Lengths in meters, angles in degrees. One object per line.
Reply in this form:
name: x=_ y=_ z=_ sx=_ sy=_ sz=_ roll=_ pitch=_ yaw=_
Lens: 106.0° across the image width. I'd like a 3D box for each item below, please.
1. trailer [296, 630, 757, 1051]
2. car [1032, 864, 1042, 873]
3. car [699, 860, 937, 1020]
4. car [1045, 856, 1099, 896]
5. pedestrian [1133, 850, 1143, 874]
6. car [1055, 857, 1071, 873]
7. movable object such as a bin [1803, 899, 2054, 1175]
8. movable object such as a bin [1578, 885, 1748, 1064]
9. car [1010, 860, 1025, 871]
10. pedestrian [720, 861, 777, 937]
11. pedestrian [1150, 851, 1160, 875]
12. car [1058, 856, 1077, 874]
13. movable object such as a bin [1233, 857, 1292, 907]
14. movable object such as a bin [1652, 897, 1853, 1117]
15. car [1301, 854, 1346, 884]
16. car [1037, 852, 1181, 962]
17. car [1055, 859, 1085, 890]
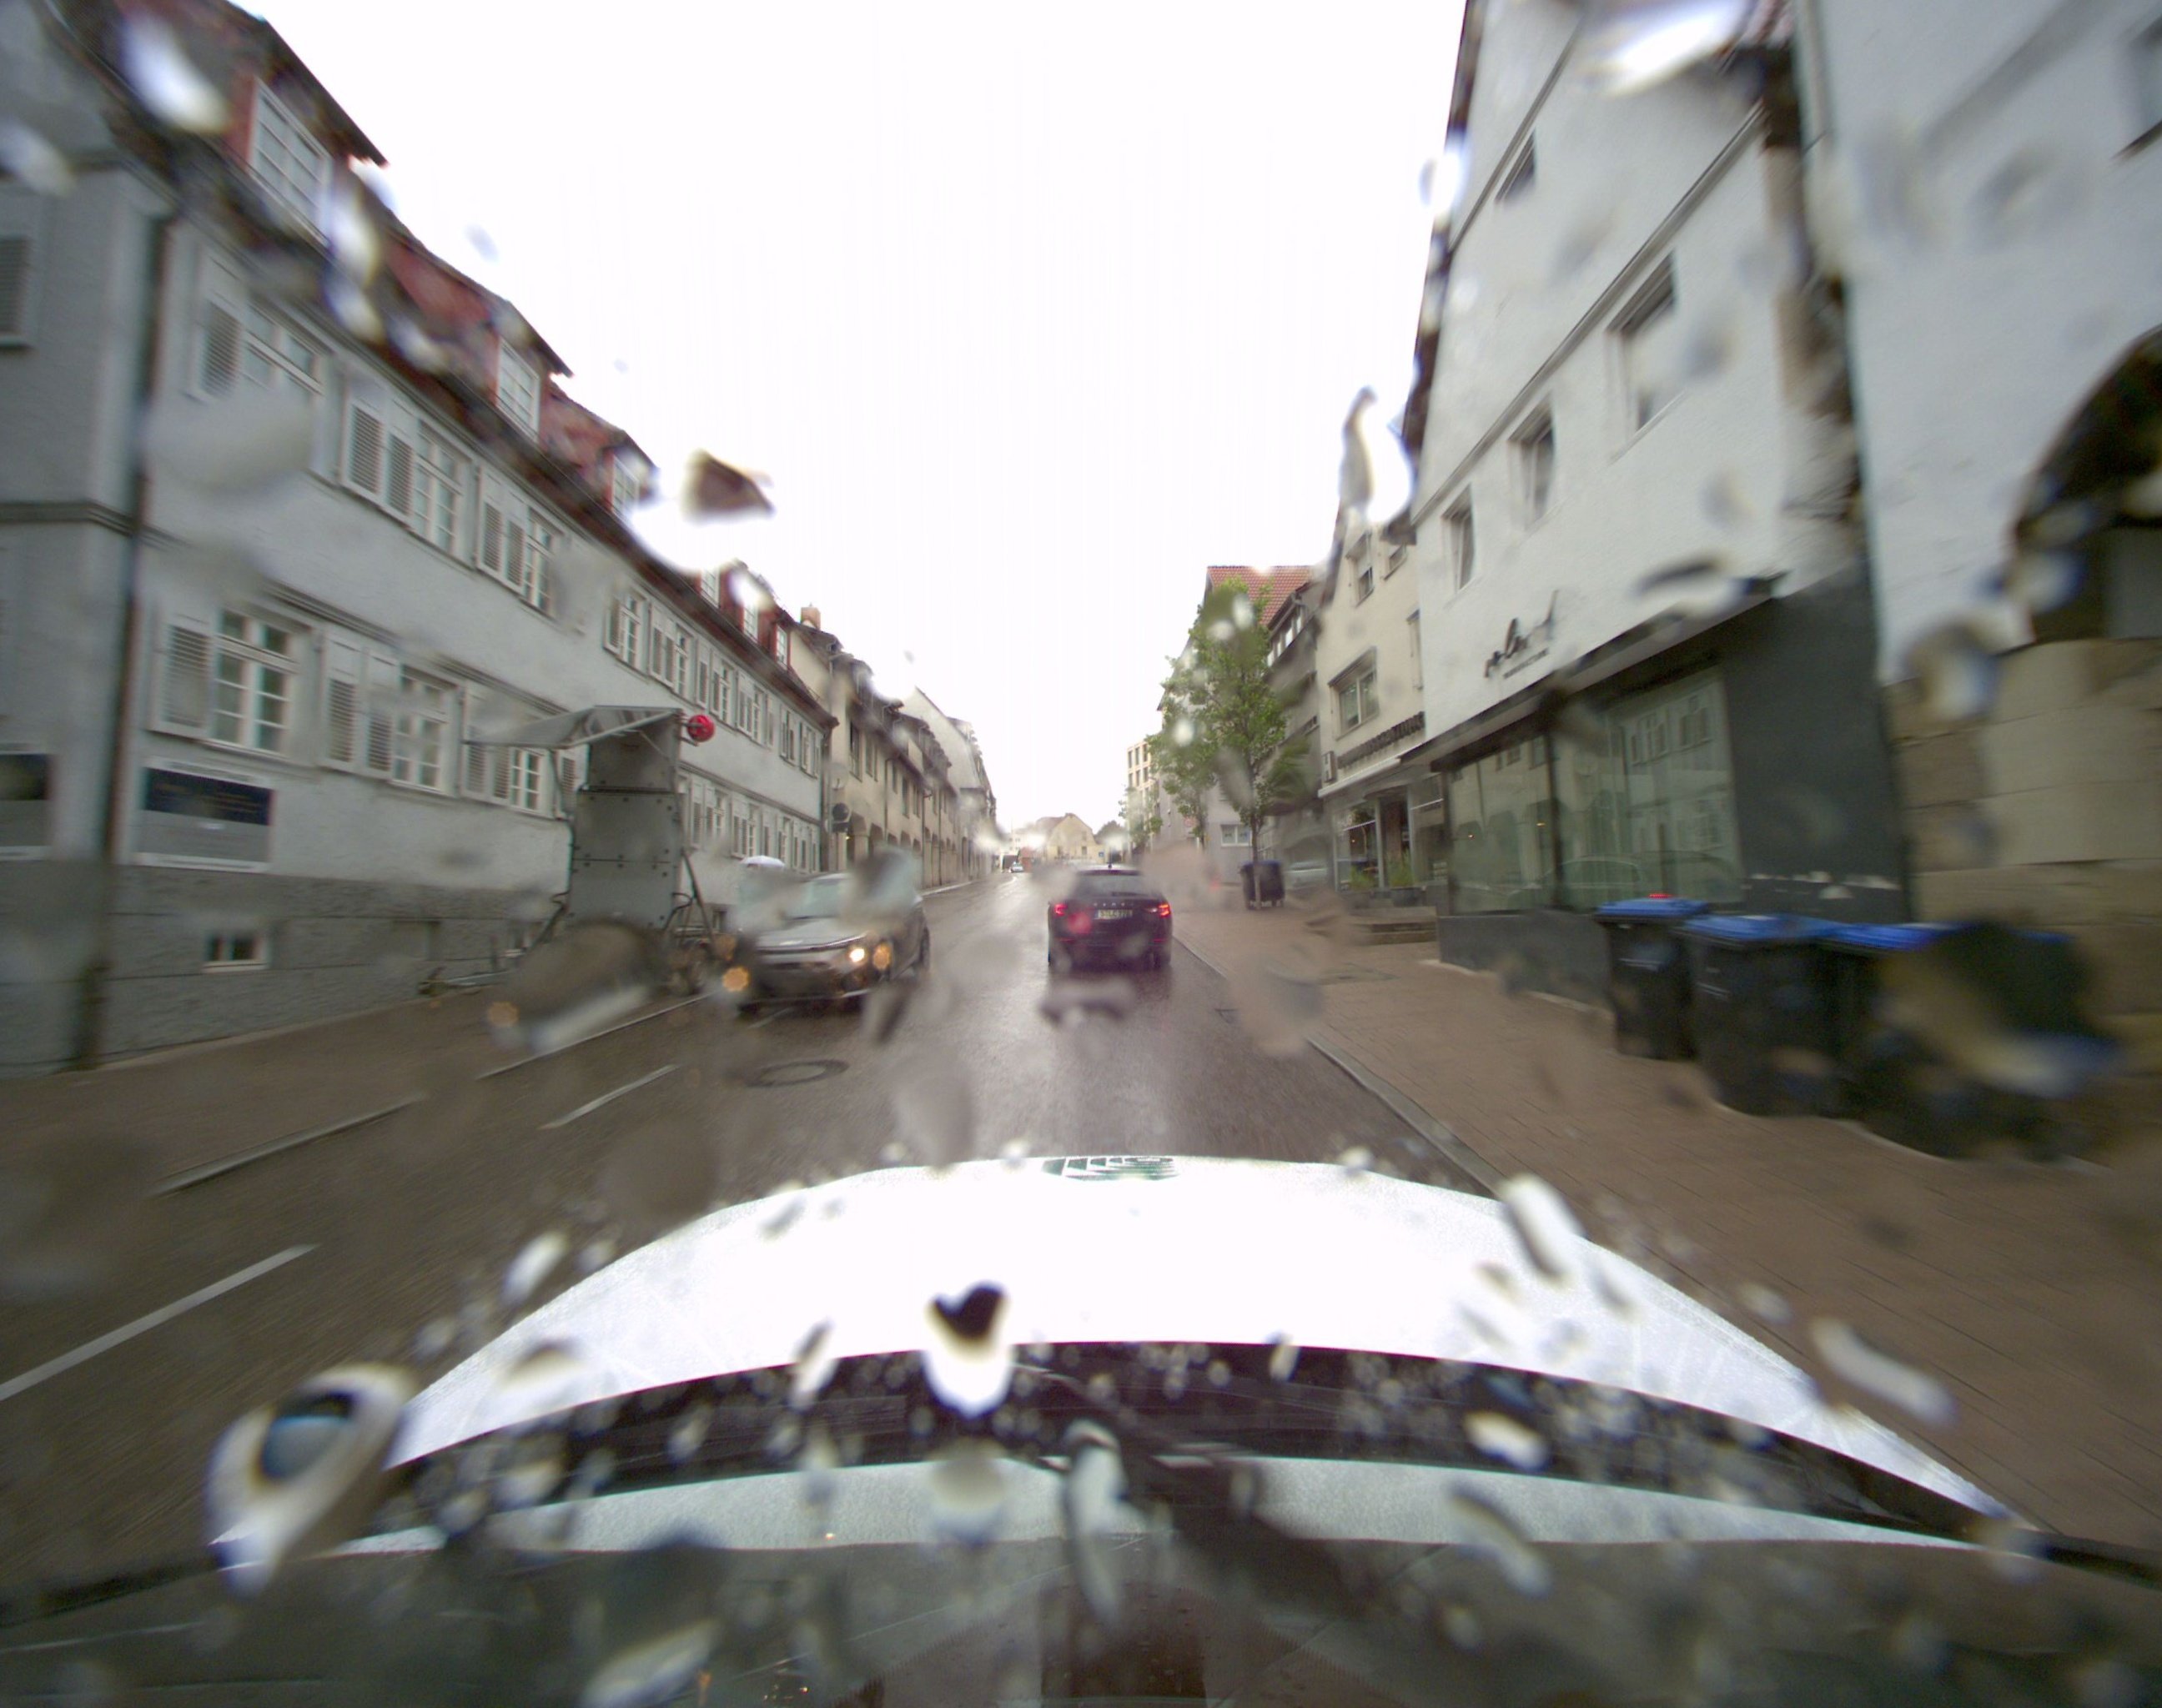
trailer: x=-5.573 y=-0.109 z=9.137 sx=1.987 sy=3.533 sz=4.575 roll=0 pitch=0 yaw=1
car: x=-7.236 y=2.362 z=134.615 sx=1.624 sy=1.530 sz=3.995 roll=0 pitch=0 yaw=-3
car: x=-2.893 y=0.847 z=9.810 sx=1.769 sy=1.534 sz=3.707 roll=0 pitch=0 yaw=-2
car: x=-0.287 y=0.820 z=32.389 sx=1.848 sy=1.473 sz=4.004 roll=0 pitch=0 yaw=4
pedestrian: x=4.030 y=0.561 z=57.492 sx=0.702 sy=1.725 sz=0.833 roll=0 pitch=-1 yaw=2
car: x=-2.255 y=1.378 z=105.481 sx=1.987 sy=2.014 sz=3.999 roll=-1 pitch=-1 yaw=-1
movable object such as a bin: x=4.149 y=0.859 z=4.035 sx=0.622 sy=1.205 sz=0.606 roll=-1 pitch=2 yaw=1
movable object such as a bin: x=3.954 y=0.794 z=5.578 sx=0.656 sy=1.062 sz=0.614 roll=-5 pitch=1 yaw=2
car: x=-9.796 y=1.803 z=124.876 sx=1.992 sy=1.651 sz=3.989 roll=0 pitch=0 yaw=-8
pedestrian: x=-6.975 y=0.919 z=17.126 sx=0.704 sy=1.530 sz=1.046 roll=1 pitch=0 yaw=2
pedestrian: x=5.330 y=0.633 z=58.846 sx=0.702 sy=1.725 sz=0.833 roll=0 pitch=-1 yaw=2
car: x=-1.321 y=1.042 z=77.587 sx=1.699 sy=1.552 sz=3.602 roll=0 pitch=1 yaw=-4
movable object such as a bin: x=5.039 y=0.752 z=22.752 sx=1.283 sy=1.349 sz=1.486 roll=0 pitch=0 yaw=-1
movable object such as a bin: x=3.823 y=0.837 z=4.688 sx=0.565 sy=1.108 sz=0.676 roll=-3 pitch=0 yaw=2
car: x=14.339 y=0.907 z=48.297 sx=1.633 sy=1.490 sz=3.447 roll=-2 pitch=-5 yaw=1
car: x=0.412 y=0.707 z=12.929 sx=1.880 sy=1.448 sz=4.357 roll=0 pitch=0 yaw=1
car: x=-0.684 y=1.236 z=48.297 sx=1.624 sy=1.530 sz=3.994 roll=-1 pitch=-5 yaw=-3
